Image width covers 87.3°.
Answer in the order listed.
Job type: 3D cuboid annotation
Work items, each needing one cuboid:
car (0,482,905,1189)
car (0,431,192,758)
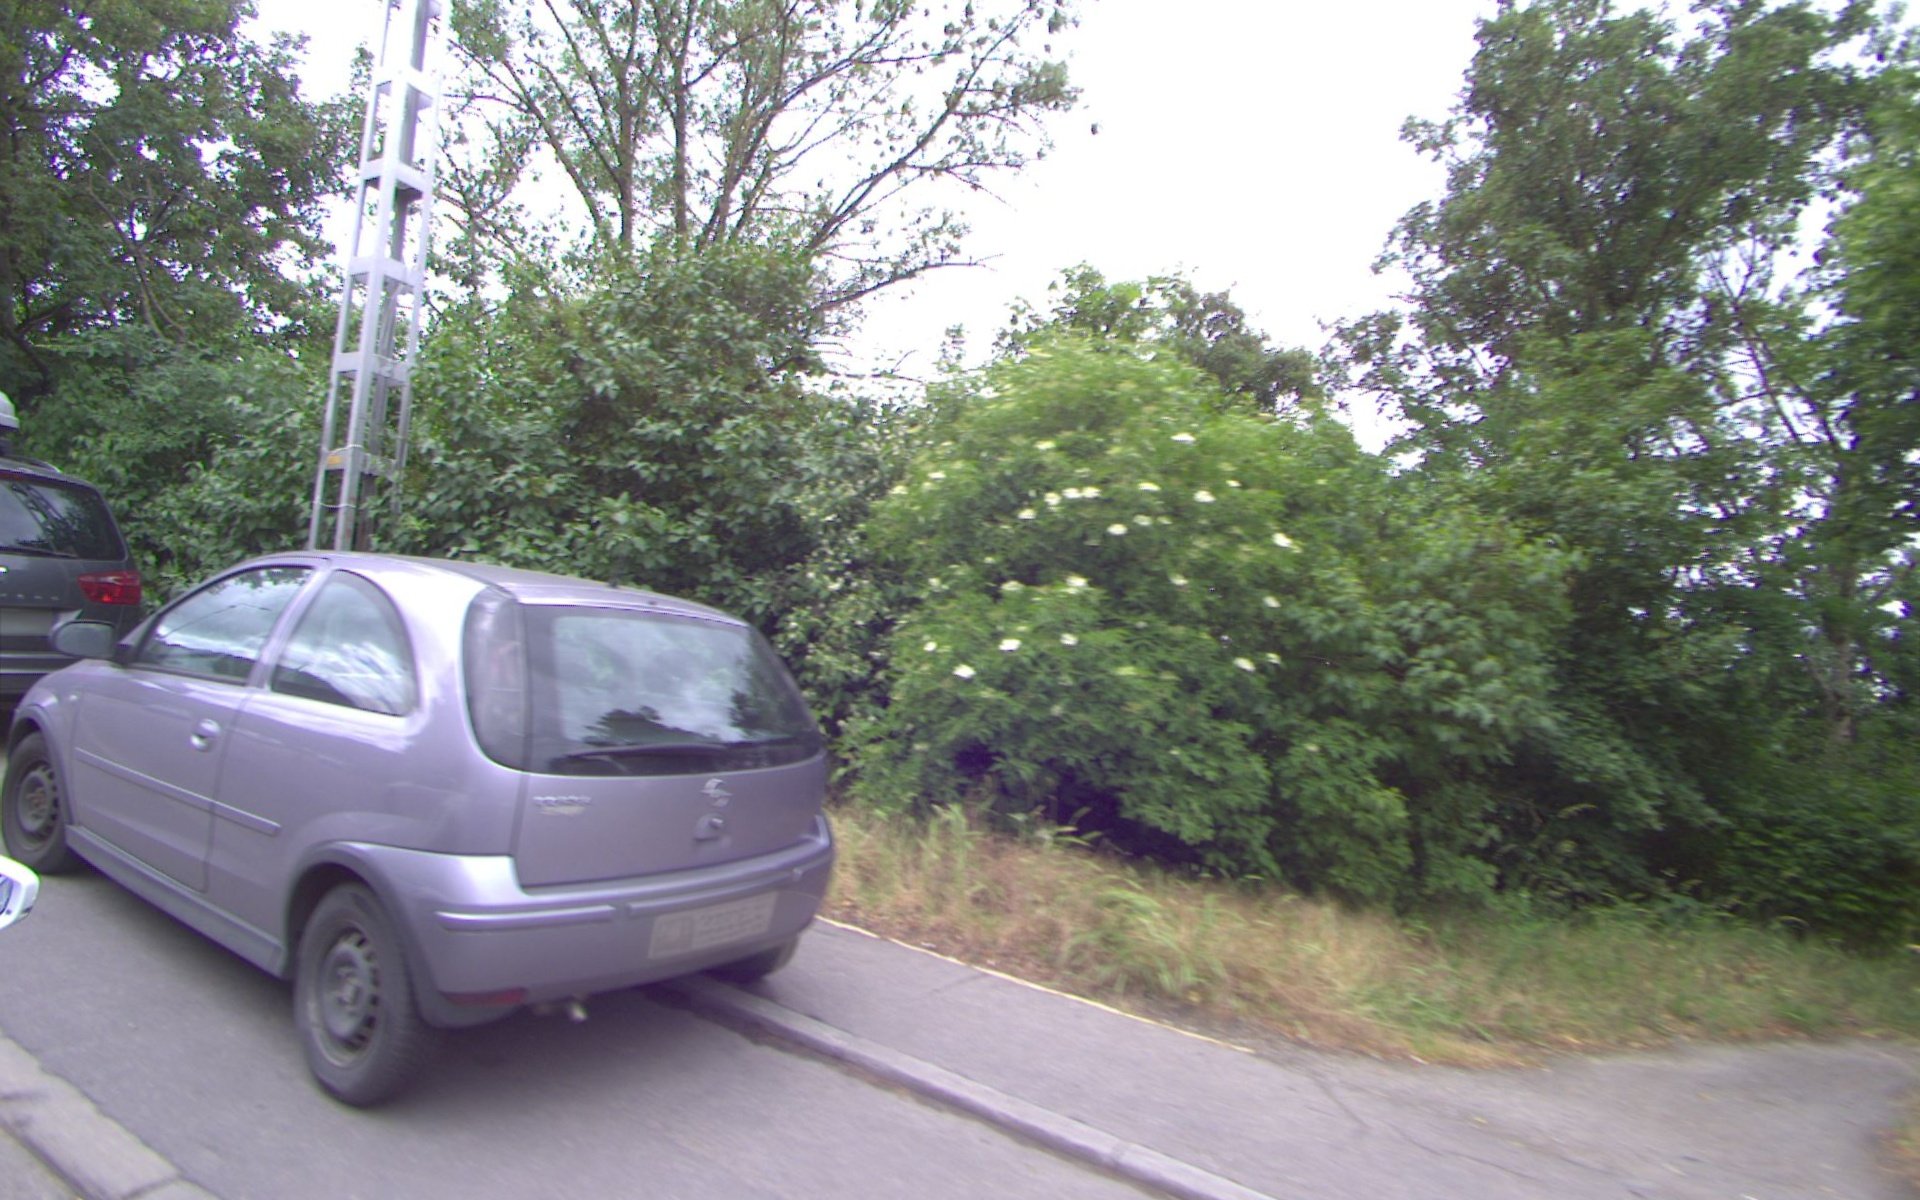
[{"bbox_3d":[-2.359,0.478,4.002,3.936,1.480,1.644,6,-3,34],"label":"car"},{"bbox_3d":[-7.358,-0.277,6.358,4.523,1.792,1.805,7,-2,23],"label":"car"}]
